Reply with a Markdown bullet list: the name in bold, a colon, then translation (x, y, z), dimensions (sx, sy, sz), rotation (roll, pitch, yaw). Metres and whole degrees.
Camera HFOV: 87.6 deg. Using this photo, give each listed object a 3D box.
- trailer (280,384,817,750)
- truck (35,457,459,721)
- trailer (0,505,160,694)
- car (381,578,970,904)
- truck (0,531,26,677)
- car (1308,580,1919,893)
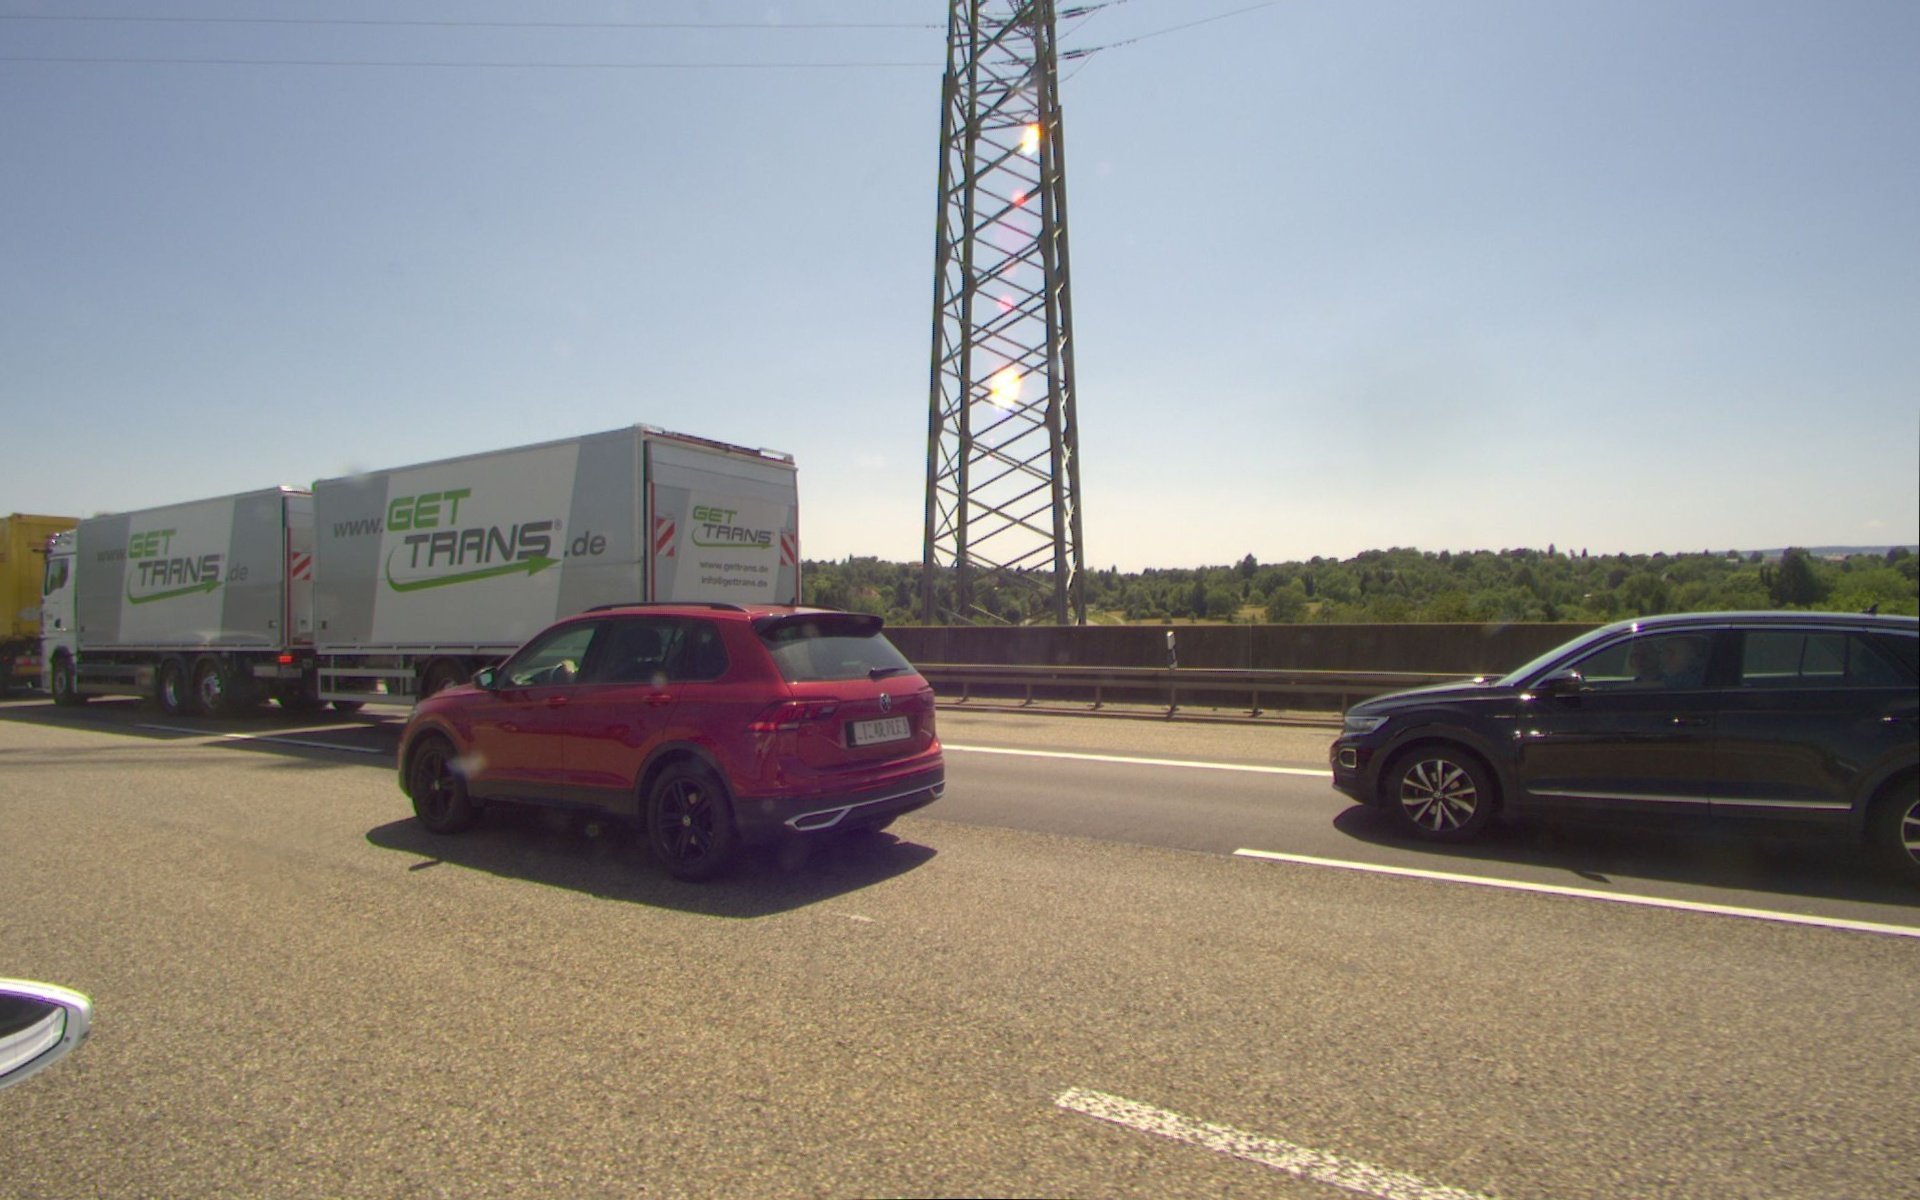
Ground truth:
- **trailer**: translation (-6.062, -0.204, 14.168), dimensions (8.098, 3.940, 2.894), rotation (-2, -2, 32)
- **truck**: translation (-13.947, 0.019, 19.124), dimensions (10.459, 3.984, 2.847), rotation (-2, -2, 32)
- **trailer**: translation (-23.876, 0.147, 25.440), dimensions (8.851, 4.139, 2.679), rotation (-2, -2, 31)
- **car**: translation (-2.152, 0.824, 7.119), dimensions (4.226, 1.700, 1.705), rotation (-2, -3, 34)
- **truck**: translation (-31.780, 0.222, 30.268), dimensions (9.797, 4.139, 2.695), rotation (-2, -2, 32)
- **car**: translation (4.632, 0.787, 6.712), dimensions (4.060, 1.675, 1.705), rotation (-2, -2, 33)
